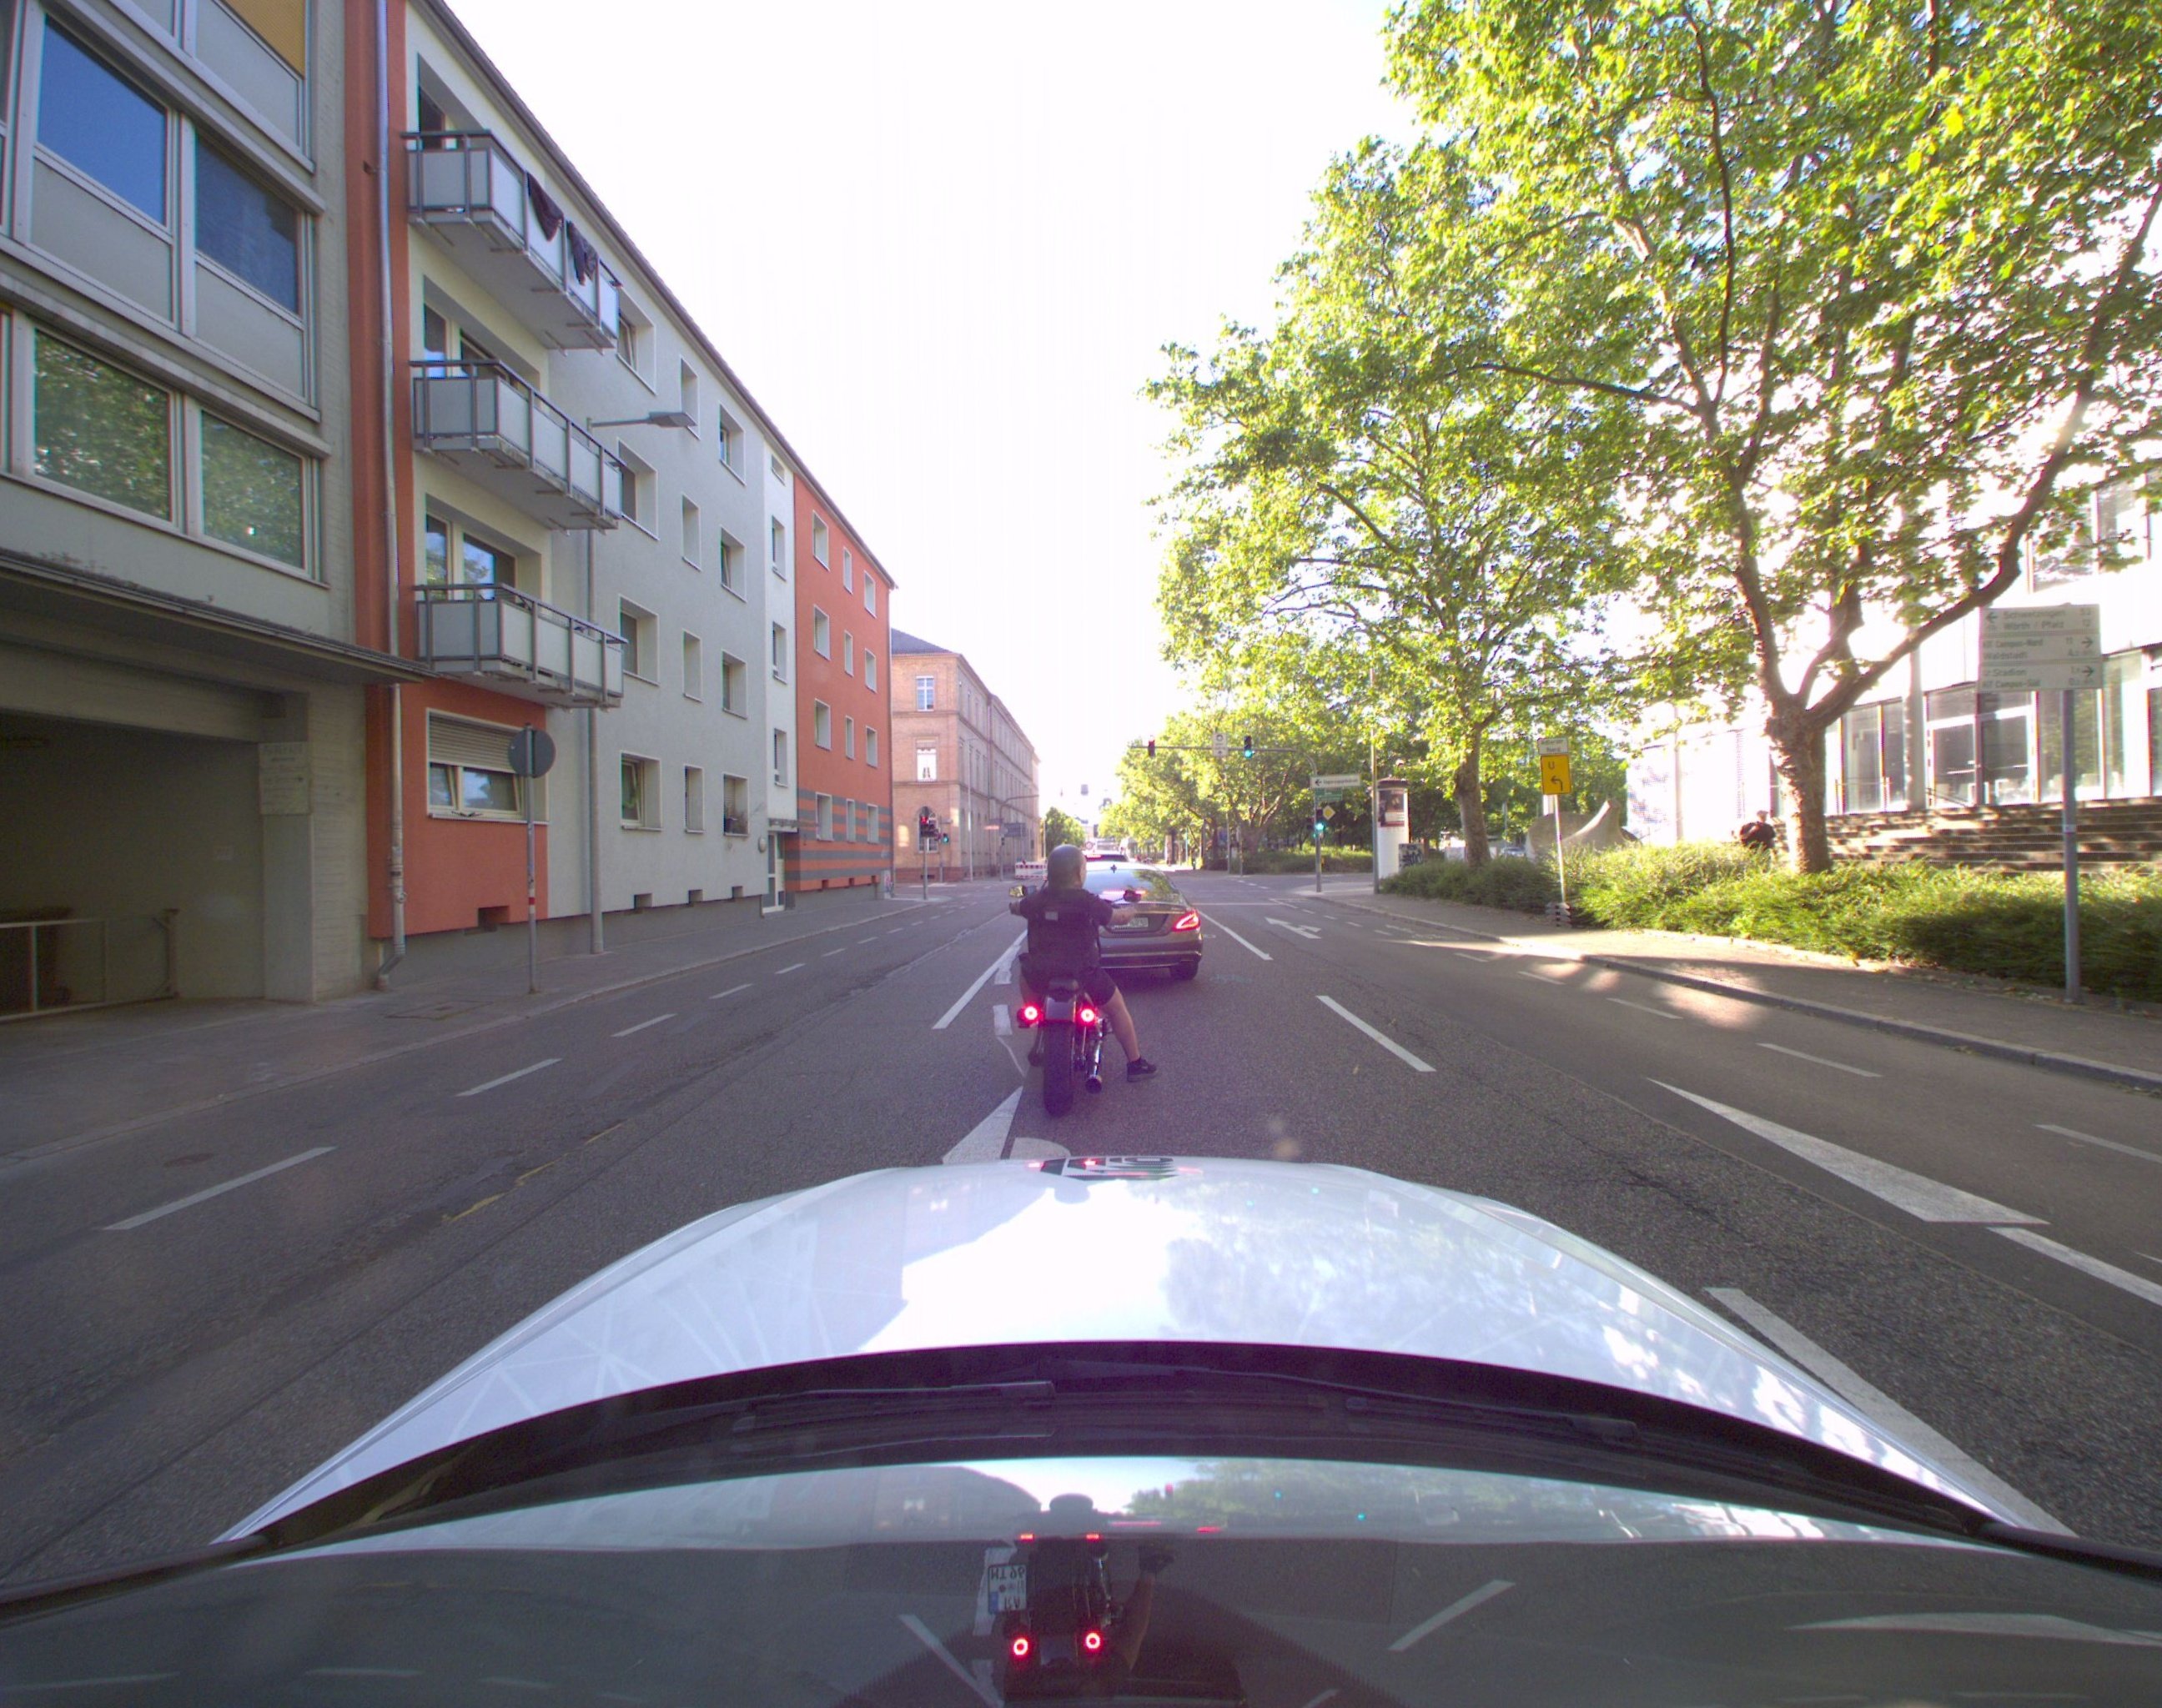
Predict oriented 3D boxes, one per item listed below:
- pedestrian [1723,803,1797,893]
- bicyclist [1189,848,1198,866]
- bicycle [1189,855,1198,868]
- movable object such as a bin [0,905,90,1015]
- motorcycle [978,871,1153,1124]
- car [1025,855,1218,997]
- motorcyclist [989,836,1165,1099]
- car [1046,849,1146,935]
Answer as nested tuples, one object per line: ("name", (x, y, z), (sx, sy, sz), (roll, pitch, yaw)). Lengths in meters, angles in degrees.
("pedestrian", (13.967, -0.117, 16.774), (0.781, 1.781, 0.862), (-1, 0, 0))
("bicyclist", (10.062, 0.253, 73.094), (0.713, 1.582, 0.937), (0, -1, 4))
("bicycle", (10.059, 0.658, 73.045), (0.712, 1.172, 2.179), (0, -1, 6))
("movable object such as a bin", (-11.331, 1.103, 8.644), (0.736, 1.074, 0.716), (0, -1, 2))
("motorcycle", (-0.048, 0.816, 5.657), (0.958, 1.357, 2.321), (0, -1, 2))
("car", (0.299, 0.761, 10.770), (1.900, 1.441, 4.279), (-1, 0, -6))
("motorcyclist", (-0.012, 0.691, 5.387), (1.057, 1.582, 0.908), (0, -1, 1))
("car", (0.261, 0.699, 16.892), (1.808, 1.536, 3.847), (-1, 0, -1))
